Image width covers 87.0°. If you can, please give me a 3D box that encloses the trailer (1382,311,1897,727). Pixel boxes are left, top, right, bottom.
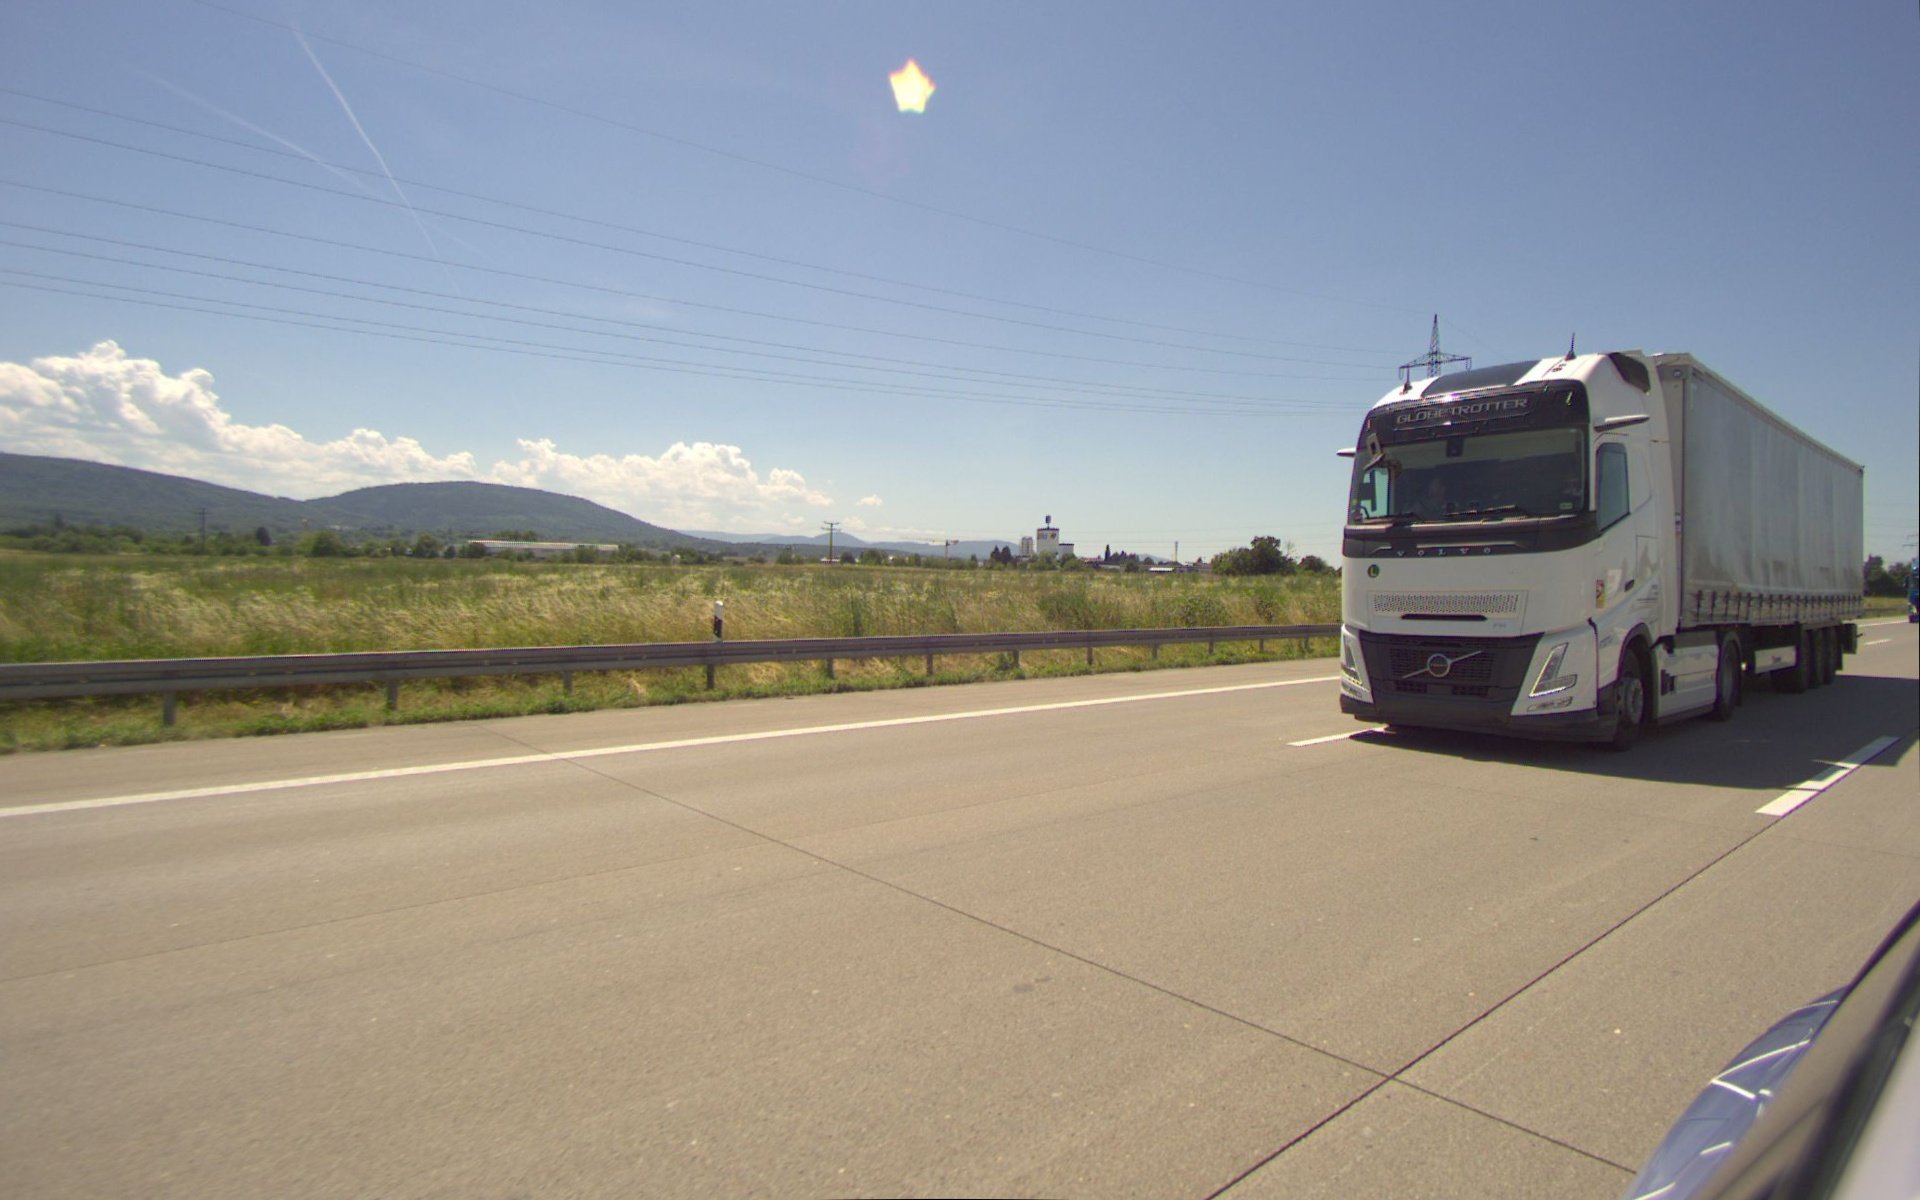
[{"bbox_3d":[11.400,-0.827,15.694,13.957,4.112,3.023,0,0,-41],"label":"trailer"}]

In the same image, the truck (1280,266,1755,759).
[{"bbox_3d":[6.394,-0.746,11.354,5.382,4.114,2.989,0,0,-41],"label":"truck"}]
